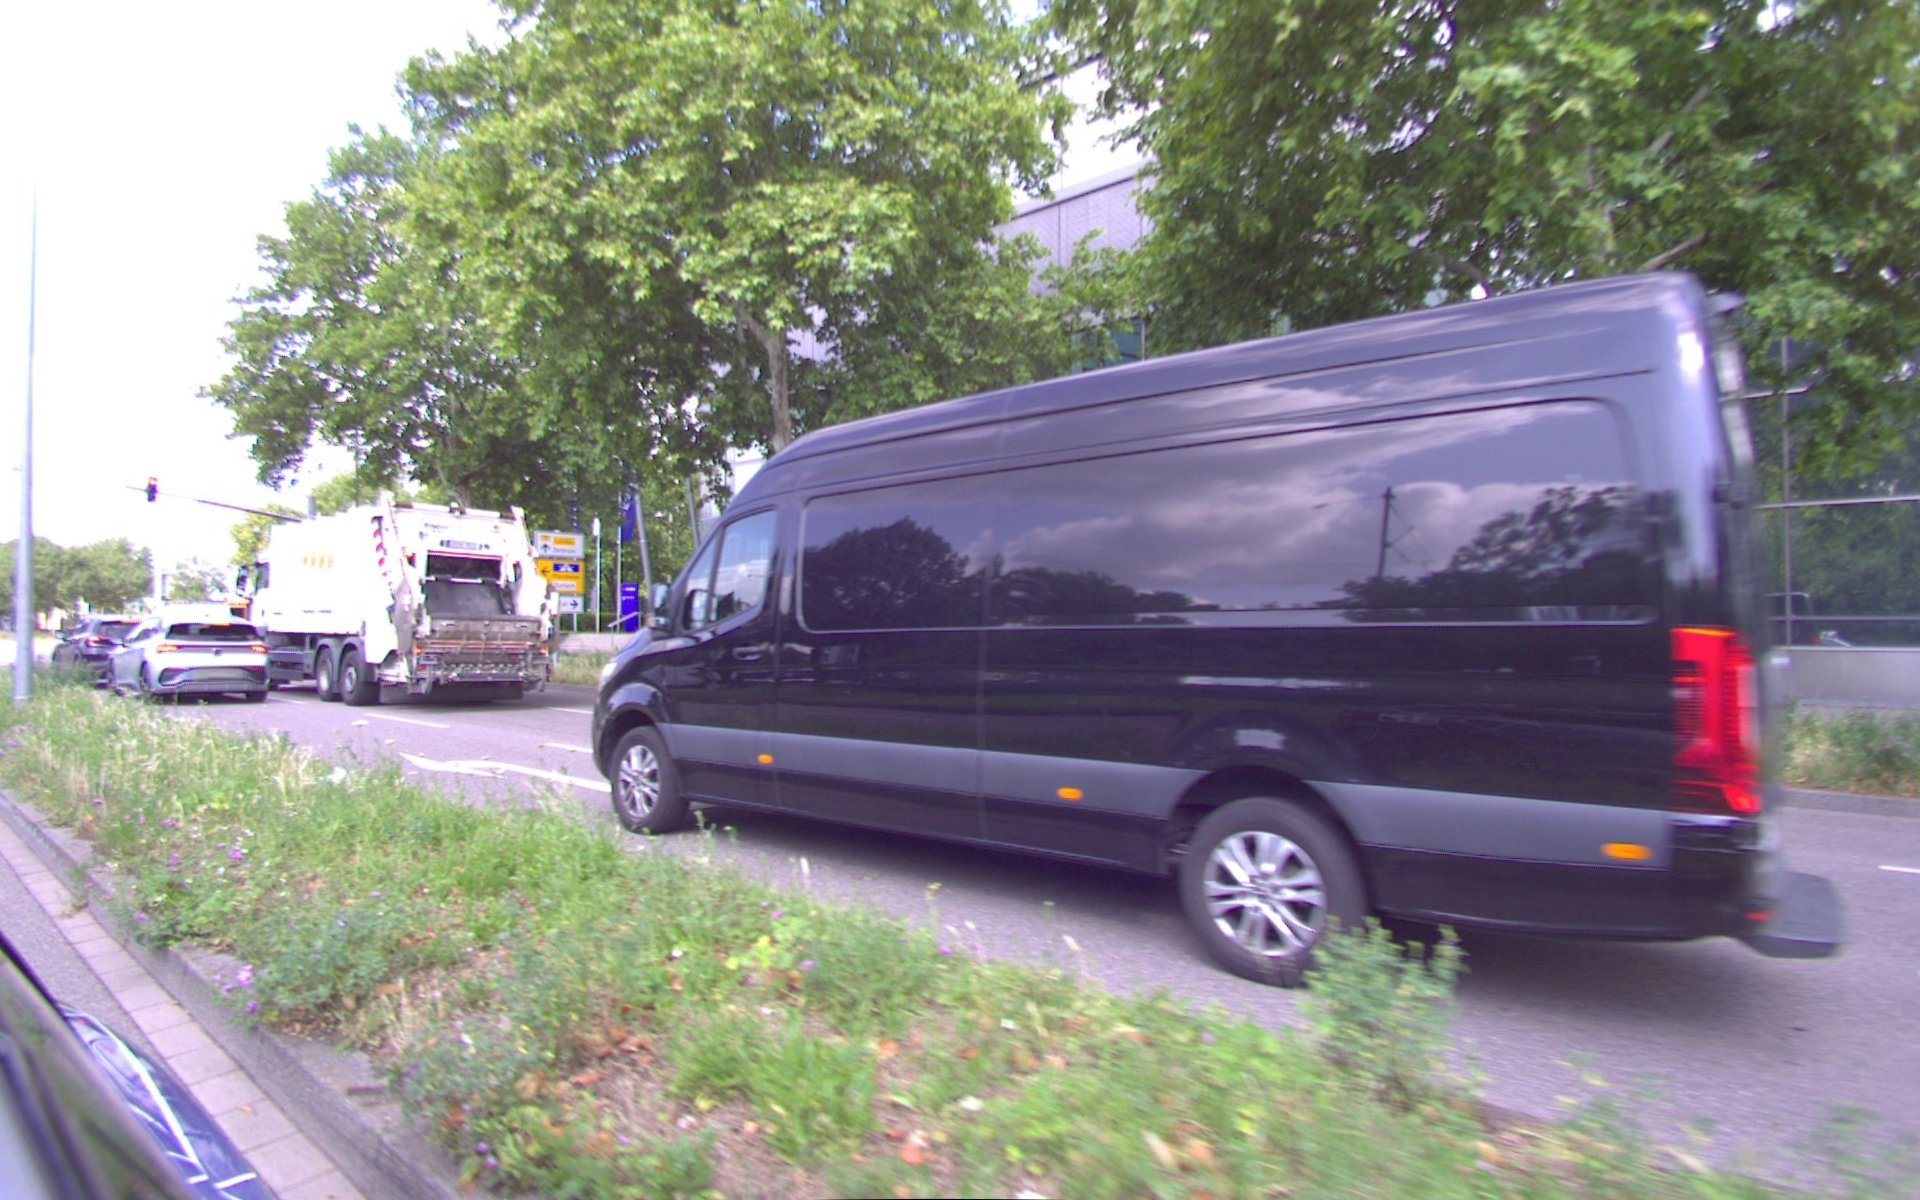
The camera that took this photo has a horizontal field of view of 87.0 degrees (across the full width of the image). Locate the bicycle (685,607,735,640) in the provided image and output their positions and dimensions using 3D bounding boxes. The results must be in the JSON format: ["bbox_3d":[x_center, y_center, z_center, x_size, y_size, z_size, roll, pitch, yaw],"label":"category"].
[{"bbox_3d":[-11.751,1.081,47.629,2.147,1.451,0.692,2,1,-3],"label":"bicycle"}]

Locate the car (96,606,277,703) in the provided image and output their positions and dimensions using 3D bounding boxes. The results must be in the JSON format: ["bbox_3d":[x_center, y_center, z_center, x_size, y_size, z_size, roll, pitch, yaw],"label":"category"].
[{"bbox_3d":[-14.093,0.960,18.353,4.231,1.564,1.726,-1,-4,41],"label":"car"}]

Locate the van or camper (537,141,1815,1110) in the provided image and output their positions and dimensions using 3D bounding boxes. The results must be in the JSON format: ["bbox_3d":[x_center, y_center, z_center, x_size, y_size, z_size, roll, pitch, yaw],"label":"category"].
[{"bbox_3d":[0.360,0.148,5.727,6.710,2.680,2.084,-1,-3,39],"label":"van or camper"}]

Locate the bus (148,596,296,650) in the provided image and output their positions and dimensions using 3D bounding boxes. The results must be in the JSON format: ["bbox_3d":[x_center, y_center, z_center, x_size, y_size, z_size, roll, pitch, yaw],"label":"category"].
[{"bbox_3d":[-54.636,1.598,75.393,2.712,3.491,10.379,2,1,5],"label":"bus"}]

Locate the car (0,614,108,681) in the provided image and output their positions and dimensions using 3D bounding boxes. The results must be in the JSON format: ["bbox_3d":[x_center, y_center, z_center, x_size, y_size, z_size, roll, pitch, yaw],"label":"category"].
[{"bbox_3d":[-24.012,1.180,26.506,4.565,1.586,1.846,0,-1,40],"label":"car"}]

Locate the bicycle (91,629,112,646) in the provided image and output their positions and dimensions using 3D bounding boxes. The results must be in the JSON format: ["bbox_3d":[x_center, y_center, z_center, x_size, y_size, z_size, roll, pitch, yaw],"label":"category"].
[{"bbox_3d":[-69.575,3.045,81.977,2.227,1.205,0.670,1,3,34],"label":"bicycle"}]

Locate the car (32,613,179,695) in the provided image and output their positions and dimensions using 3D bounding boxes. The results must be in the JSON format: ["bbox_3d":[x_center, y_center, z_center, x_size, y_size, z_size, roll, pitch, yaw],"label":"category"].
[{"bbox_3d":[-18.519,1.093,21.862,4.358,1.599,1.690,-1,-1,40],"label":"car"}]

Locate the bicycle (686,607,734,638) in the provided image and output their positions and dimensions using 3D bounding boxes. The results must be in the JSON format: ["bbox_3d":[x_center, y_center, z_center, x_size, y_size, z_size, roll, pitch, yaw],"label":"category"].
[{"bbox_3d":[-11.974,1.076,48.485,2.111,1.394,0.741,2,1,3],"label":"bicycle"}]

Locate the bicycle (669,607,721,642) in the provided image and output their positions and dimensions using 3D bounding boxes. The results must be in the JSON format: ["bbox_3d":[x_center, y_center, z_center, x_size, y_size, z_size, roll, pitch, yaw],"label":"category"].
[{"bbox_3d":[-11.983,1.101,45.815,2.147,1.451,0.692,2,1,-3],"label":"bicycle"}]

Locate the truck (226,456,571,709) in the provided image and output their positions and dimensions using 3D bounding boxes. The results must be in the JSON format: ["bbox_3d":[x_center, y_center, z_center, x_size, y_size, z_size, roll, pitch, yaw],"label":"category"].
[{"bbox_3d":[-11.497,-0.146,20.017,10.156,3.917,2.622,-1,-4,42],"label":"truck"}]

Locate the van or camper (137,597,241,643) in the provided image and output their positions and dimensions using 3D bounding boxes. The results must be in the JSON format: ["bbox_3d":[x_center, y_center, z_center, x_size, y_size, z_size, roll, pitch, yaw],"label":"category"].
[{"bbox_3d":[-52.038,1.286,68.489,2.137,2.806,5.958,3,1,4],"label":"van or camper"}]

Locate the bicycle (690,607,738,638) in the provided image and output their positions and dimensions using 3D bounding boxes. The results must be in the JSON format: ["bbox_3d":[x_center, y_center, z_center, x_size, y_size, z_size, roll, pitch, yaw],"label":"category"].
[{"bbox_3d":[-11.973,1.105,49.274,2.111,1.394,0.741,2,1,3],"label":"bicycle"}]

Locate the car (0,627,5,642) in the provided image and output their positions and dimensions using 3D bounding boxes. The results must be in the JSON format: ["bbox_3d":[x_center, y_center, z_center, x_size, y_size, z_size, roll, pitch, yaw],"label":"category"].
[{"bbox_3d":[-95.178,3.283,97.981,1.728,1.490,3.793,0,-4,4],"label":"car"}]
